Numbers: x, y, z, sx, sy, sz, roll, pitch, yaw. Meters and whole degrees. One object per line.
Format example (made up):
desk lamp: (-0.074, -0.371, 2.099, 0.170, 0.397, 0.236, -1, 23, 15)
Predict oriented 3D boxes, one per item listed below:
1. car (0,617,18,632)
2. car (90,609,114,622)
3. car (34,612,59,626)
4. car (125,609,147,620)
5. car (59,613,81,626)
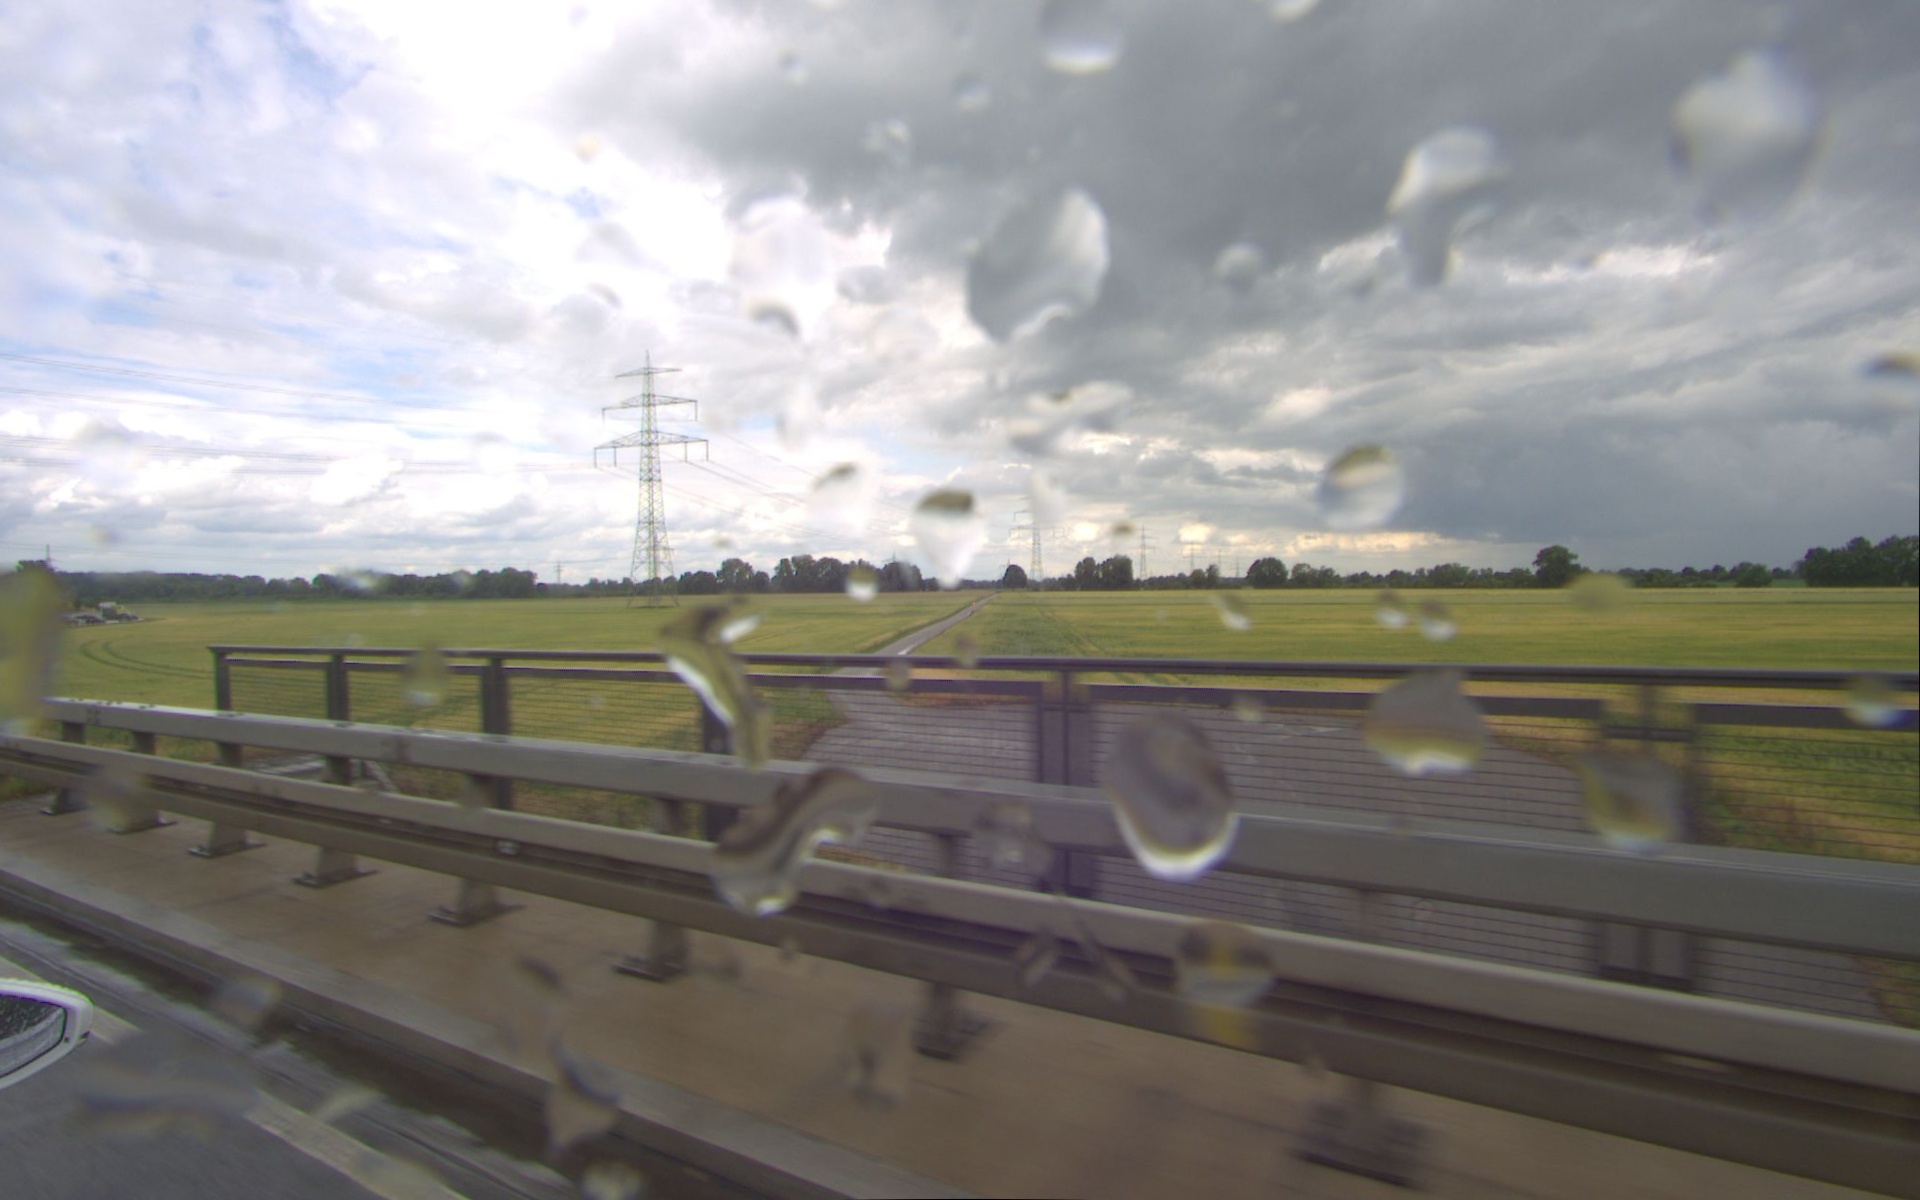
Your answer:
car: (-133.939, 3.461, 140.409, 1.973, 2.039, 3.978, 0, -2, -32)
car: (-149.453, 2.708, 174.443, 1.968, 2.039, 3.988, 0, -2, -23)
car: (-140.780, 2.904, 154.284, 2.203, 2.039, 3.977, 1, -2, -33)
car: (-159.384, 2.857, 193.623, 1.736, 2.040, 3.994, 0, 0, -15)
car: (-144.537, 3.194, 162.679, 1.972, 2.039, 3.979, 0, -2, -32)
